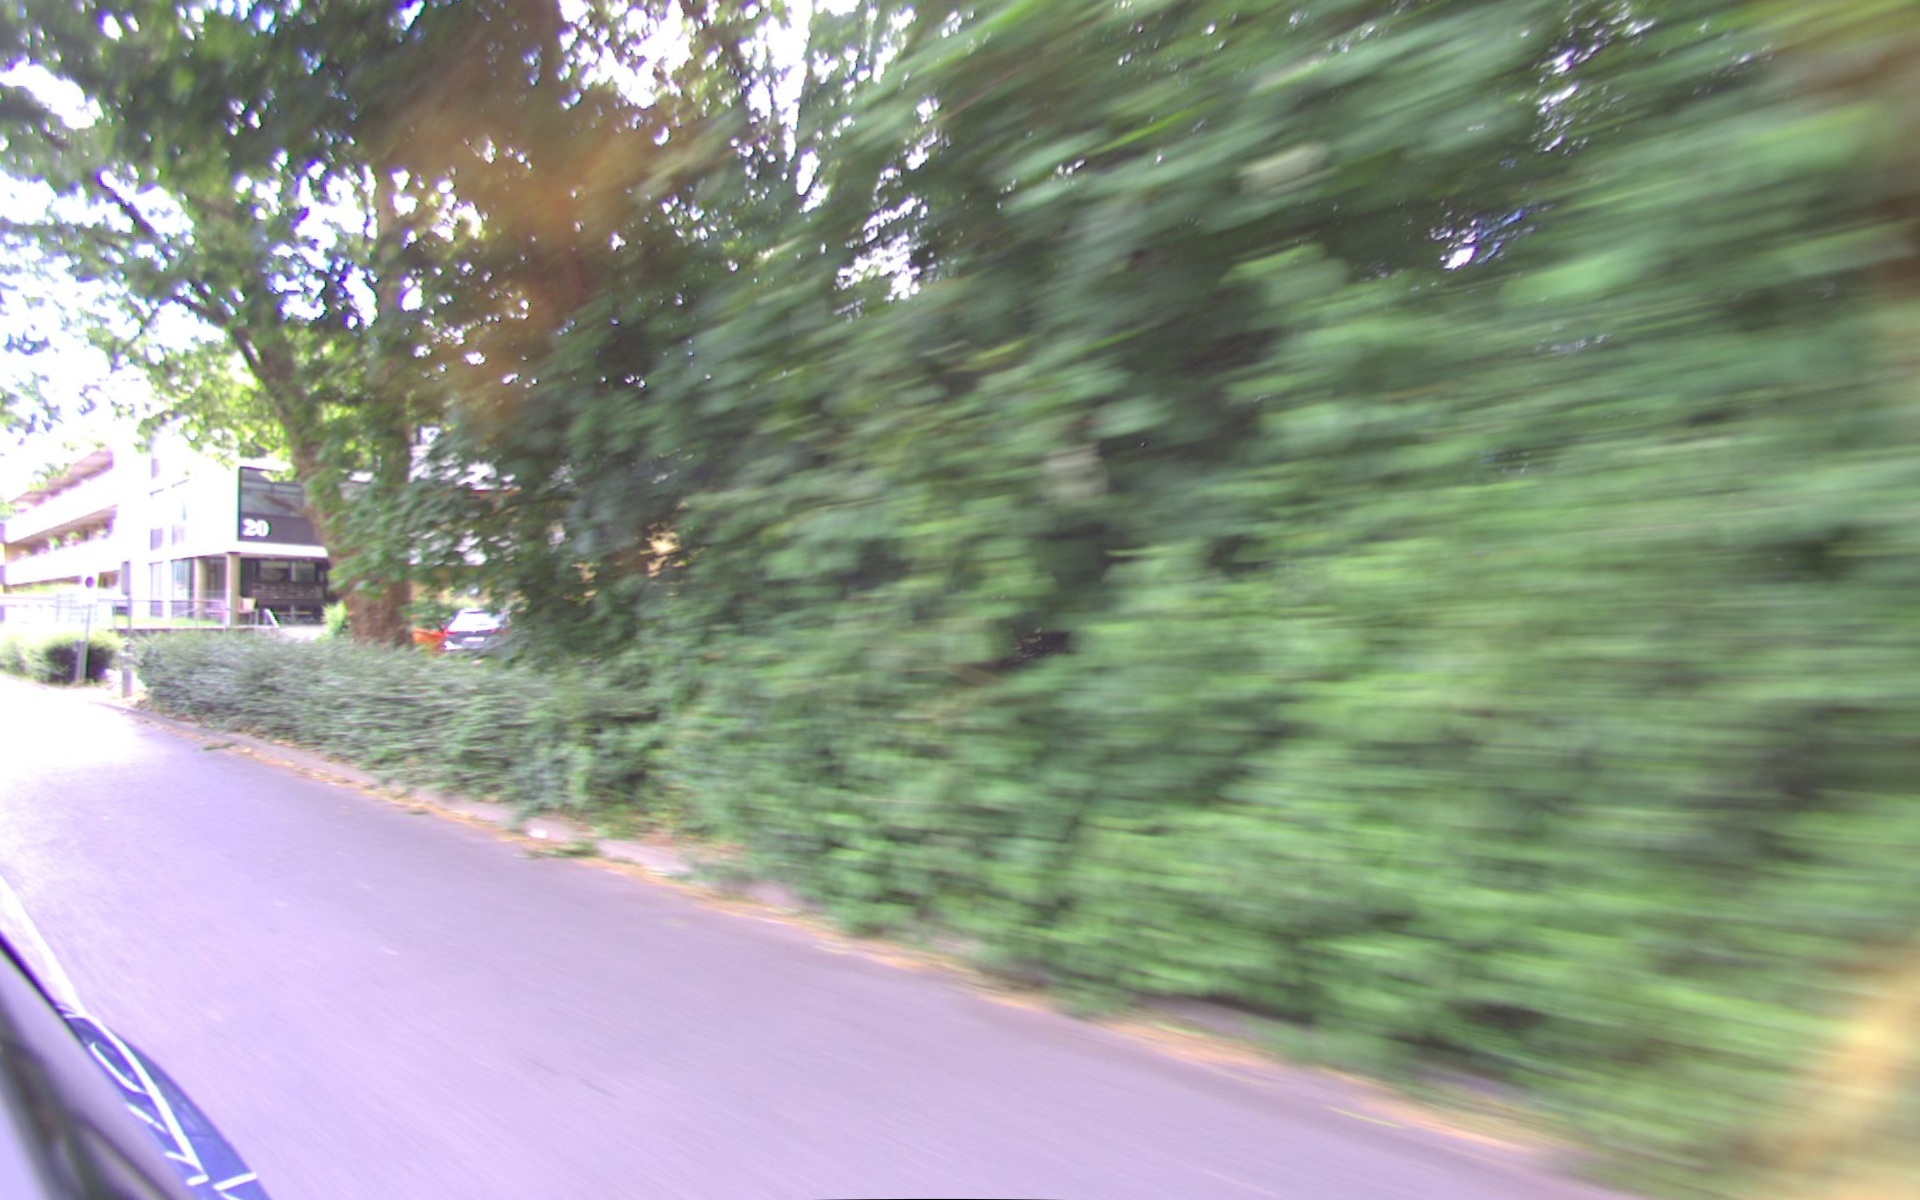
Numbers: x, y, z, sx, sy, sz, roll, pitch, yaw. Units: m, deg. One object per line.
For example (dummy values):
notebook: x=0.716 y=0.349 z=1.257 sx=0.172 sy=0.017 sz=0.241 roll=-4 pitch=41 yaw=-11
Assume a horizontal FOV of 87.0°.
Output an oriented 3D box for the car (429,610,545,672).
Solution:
car: x=-13.335 y=1.113 z=28.804 sx=1.797 sy=1.623 sz=4.005 roll=0 pitch=-1 yaw=-6

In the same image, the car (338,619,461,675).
car: x=-16.067 y=1.298 z=29.246 sx=1.722 sy=1.441 sz=4.005 roll=0 pitch=-1 yaw=-6
